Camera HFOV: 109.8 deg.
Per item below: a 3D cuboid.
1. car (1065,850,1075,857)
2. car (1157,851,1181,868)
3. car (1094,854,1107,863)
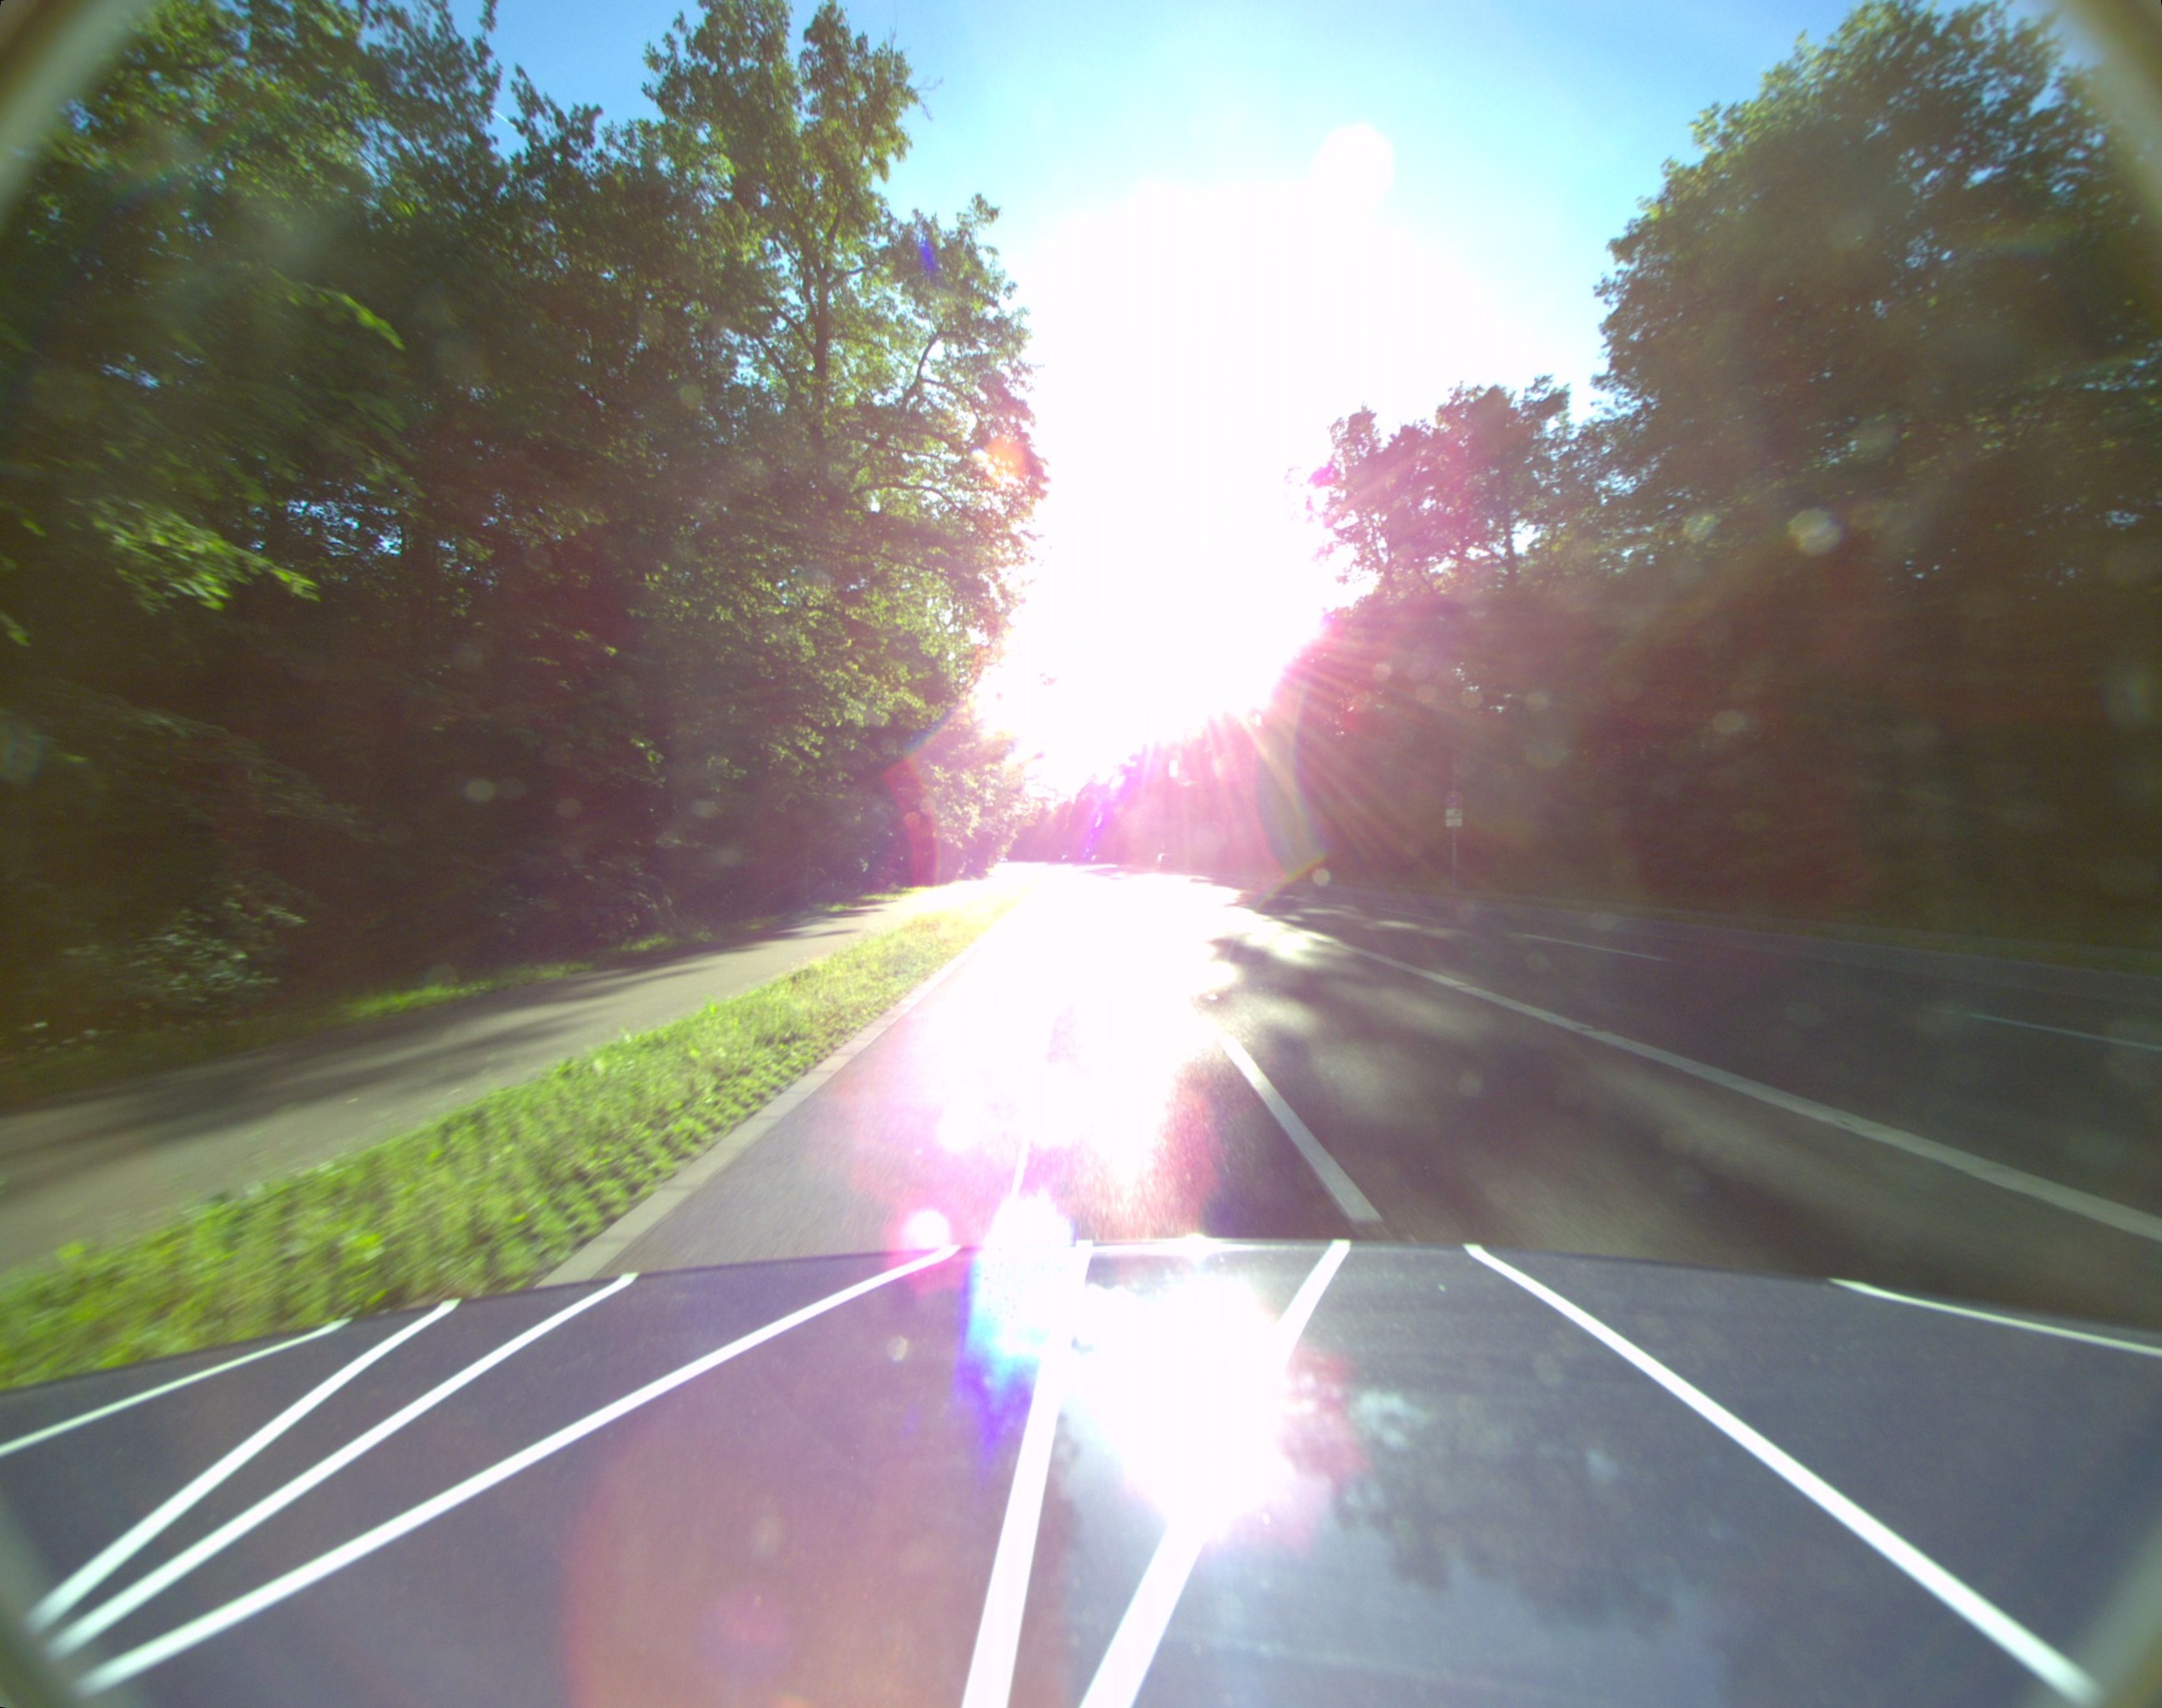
[{"bbox_3d":[-2.548,-0.082,172.508,1.813,1.653,4.518,-1,0,-7],"label":"car"},{"bbox_3d":[7.762,0.505,67.268,1.499,1.436,3.499,-2,0,-2],"label":"car"},{"bbox_3d":[3.234,0.783,127.223,1.714,1.415,4.129,-1,0,-3],"label":"car"}]
